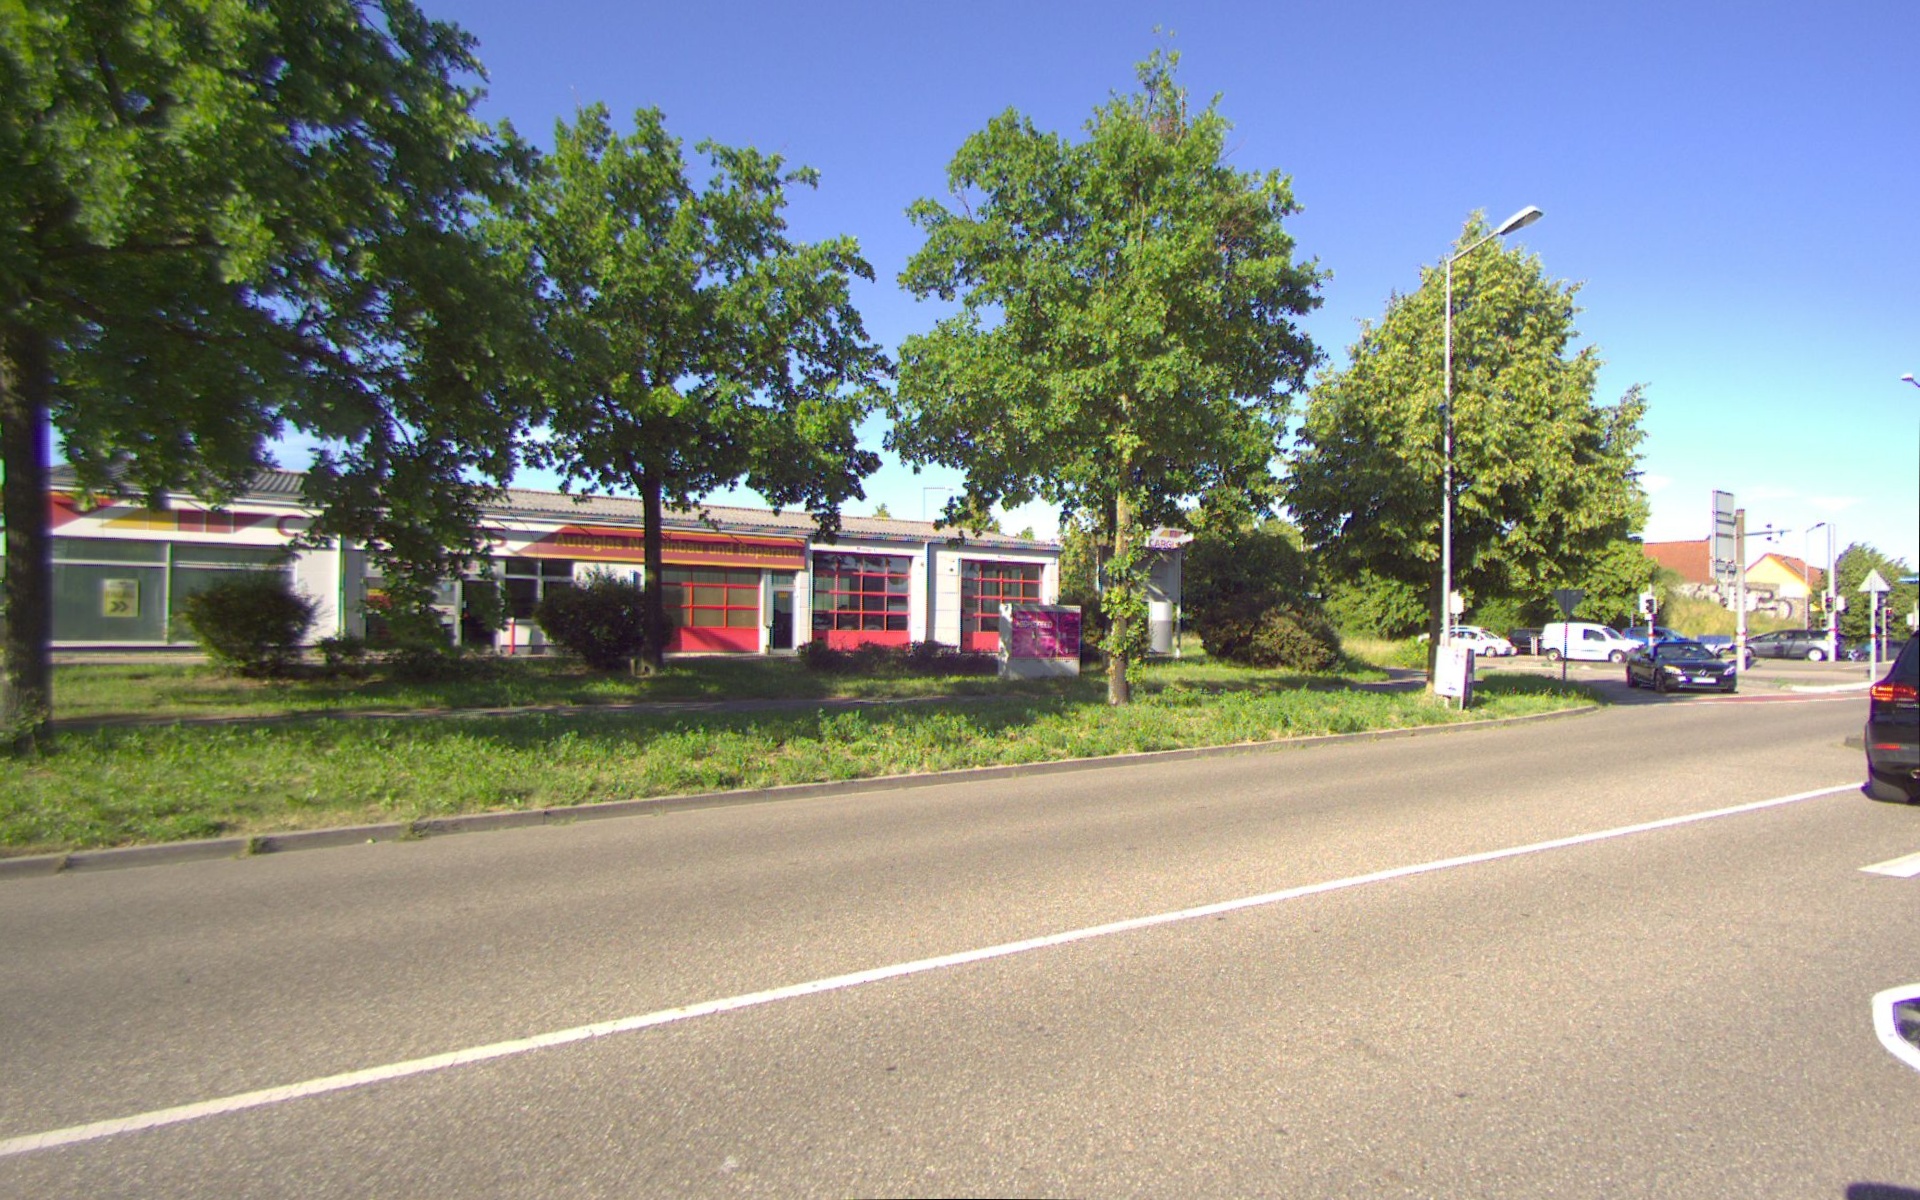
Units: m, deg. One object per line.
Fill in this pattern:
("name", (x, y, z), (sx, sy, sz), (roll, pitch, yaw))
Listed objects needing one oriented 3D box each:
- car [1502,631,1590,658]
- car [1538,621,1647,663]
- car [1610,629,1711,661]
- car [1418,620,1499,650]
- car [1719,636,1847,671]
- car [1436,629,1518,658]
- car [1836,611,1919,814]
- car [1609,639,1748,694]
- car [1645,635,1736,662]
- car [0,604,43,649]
("car", (31.617, 2.388, 54.254), (1.494, 1.330, 3.817), (2, -1, -38))
("car", (29.205, 1.916, 46.491), (1.444, 1.824, 4.084), (2, -2, -35))
("car", (34.904, 2.219, 50.125), (1.668, 1.403, 3.817), (2, -1, -38))
("car", (31.764, 2.215, 64.137), (1.693, 1.705, 4.359), (2, -1, -32))
("car", (41.510, 2.662, 50.762), (1.980, 1.560, 4.671), (1, -1, -35))
("car", (27.940, 2.338, 54.317), (1.578, 1.505, 3.646), (2, -2, -35))
("car", (9.898, 0.999, 9.085), (3.956, 1.695, 1.812), (2, -3, -31))
("car", (20.728, 1.914, 29.206), (1.961, 1.421, 4.590), (-2, -4, 18))
("car", (41.125, 2.715, 56.615), (1.666, 1.358, 3.822), (2, -1, -34))
("car", (-44.866, 1.229, 47.187), (1.863, 2.040, 3.966), (1, -2, -31))
